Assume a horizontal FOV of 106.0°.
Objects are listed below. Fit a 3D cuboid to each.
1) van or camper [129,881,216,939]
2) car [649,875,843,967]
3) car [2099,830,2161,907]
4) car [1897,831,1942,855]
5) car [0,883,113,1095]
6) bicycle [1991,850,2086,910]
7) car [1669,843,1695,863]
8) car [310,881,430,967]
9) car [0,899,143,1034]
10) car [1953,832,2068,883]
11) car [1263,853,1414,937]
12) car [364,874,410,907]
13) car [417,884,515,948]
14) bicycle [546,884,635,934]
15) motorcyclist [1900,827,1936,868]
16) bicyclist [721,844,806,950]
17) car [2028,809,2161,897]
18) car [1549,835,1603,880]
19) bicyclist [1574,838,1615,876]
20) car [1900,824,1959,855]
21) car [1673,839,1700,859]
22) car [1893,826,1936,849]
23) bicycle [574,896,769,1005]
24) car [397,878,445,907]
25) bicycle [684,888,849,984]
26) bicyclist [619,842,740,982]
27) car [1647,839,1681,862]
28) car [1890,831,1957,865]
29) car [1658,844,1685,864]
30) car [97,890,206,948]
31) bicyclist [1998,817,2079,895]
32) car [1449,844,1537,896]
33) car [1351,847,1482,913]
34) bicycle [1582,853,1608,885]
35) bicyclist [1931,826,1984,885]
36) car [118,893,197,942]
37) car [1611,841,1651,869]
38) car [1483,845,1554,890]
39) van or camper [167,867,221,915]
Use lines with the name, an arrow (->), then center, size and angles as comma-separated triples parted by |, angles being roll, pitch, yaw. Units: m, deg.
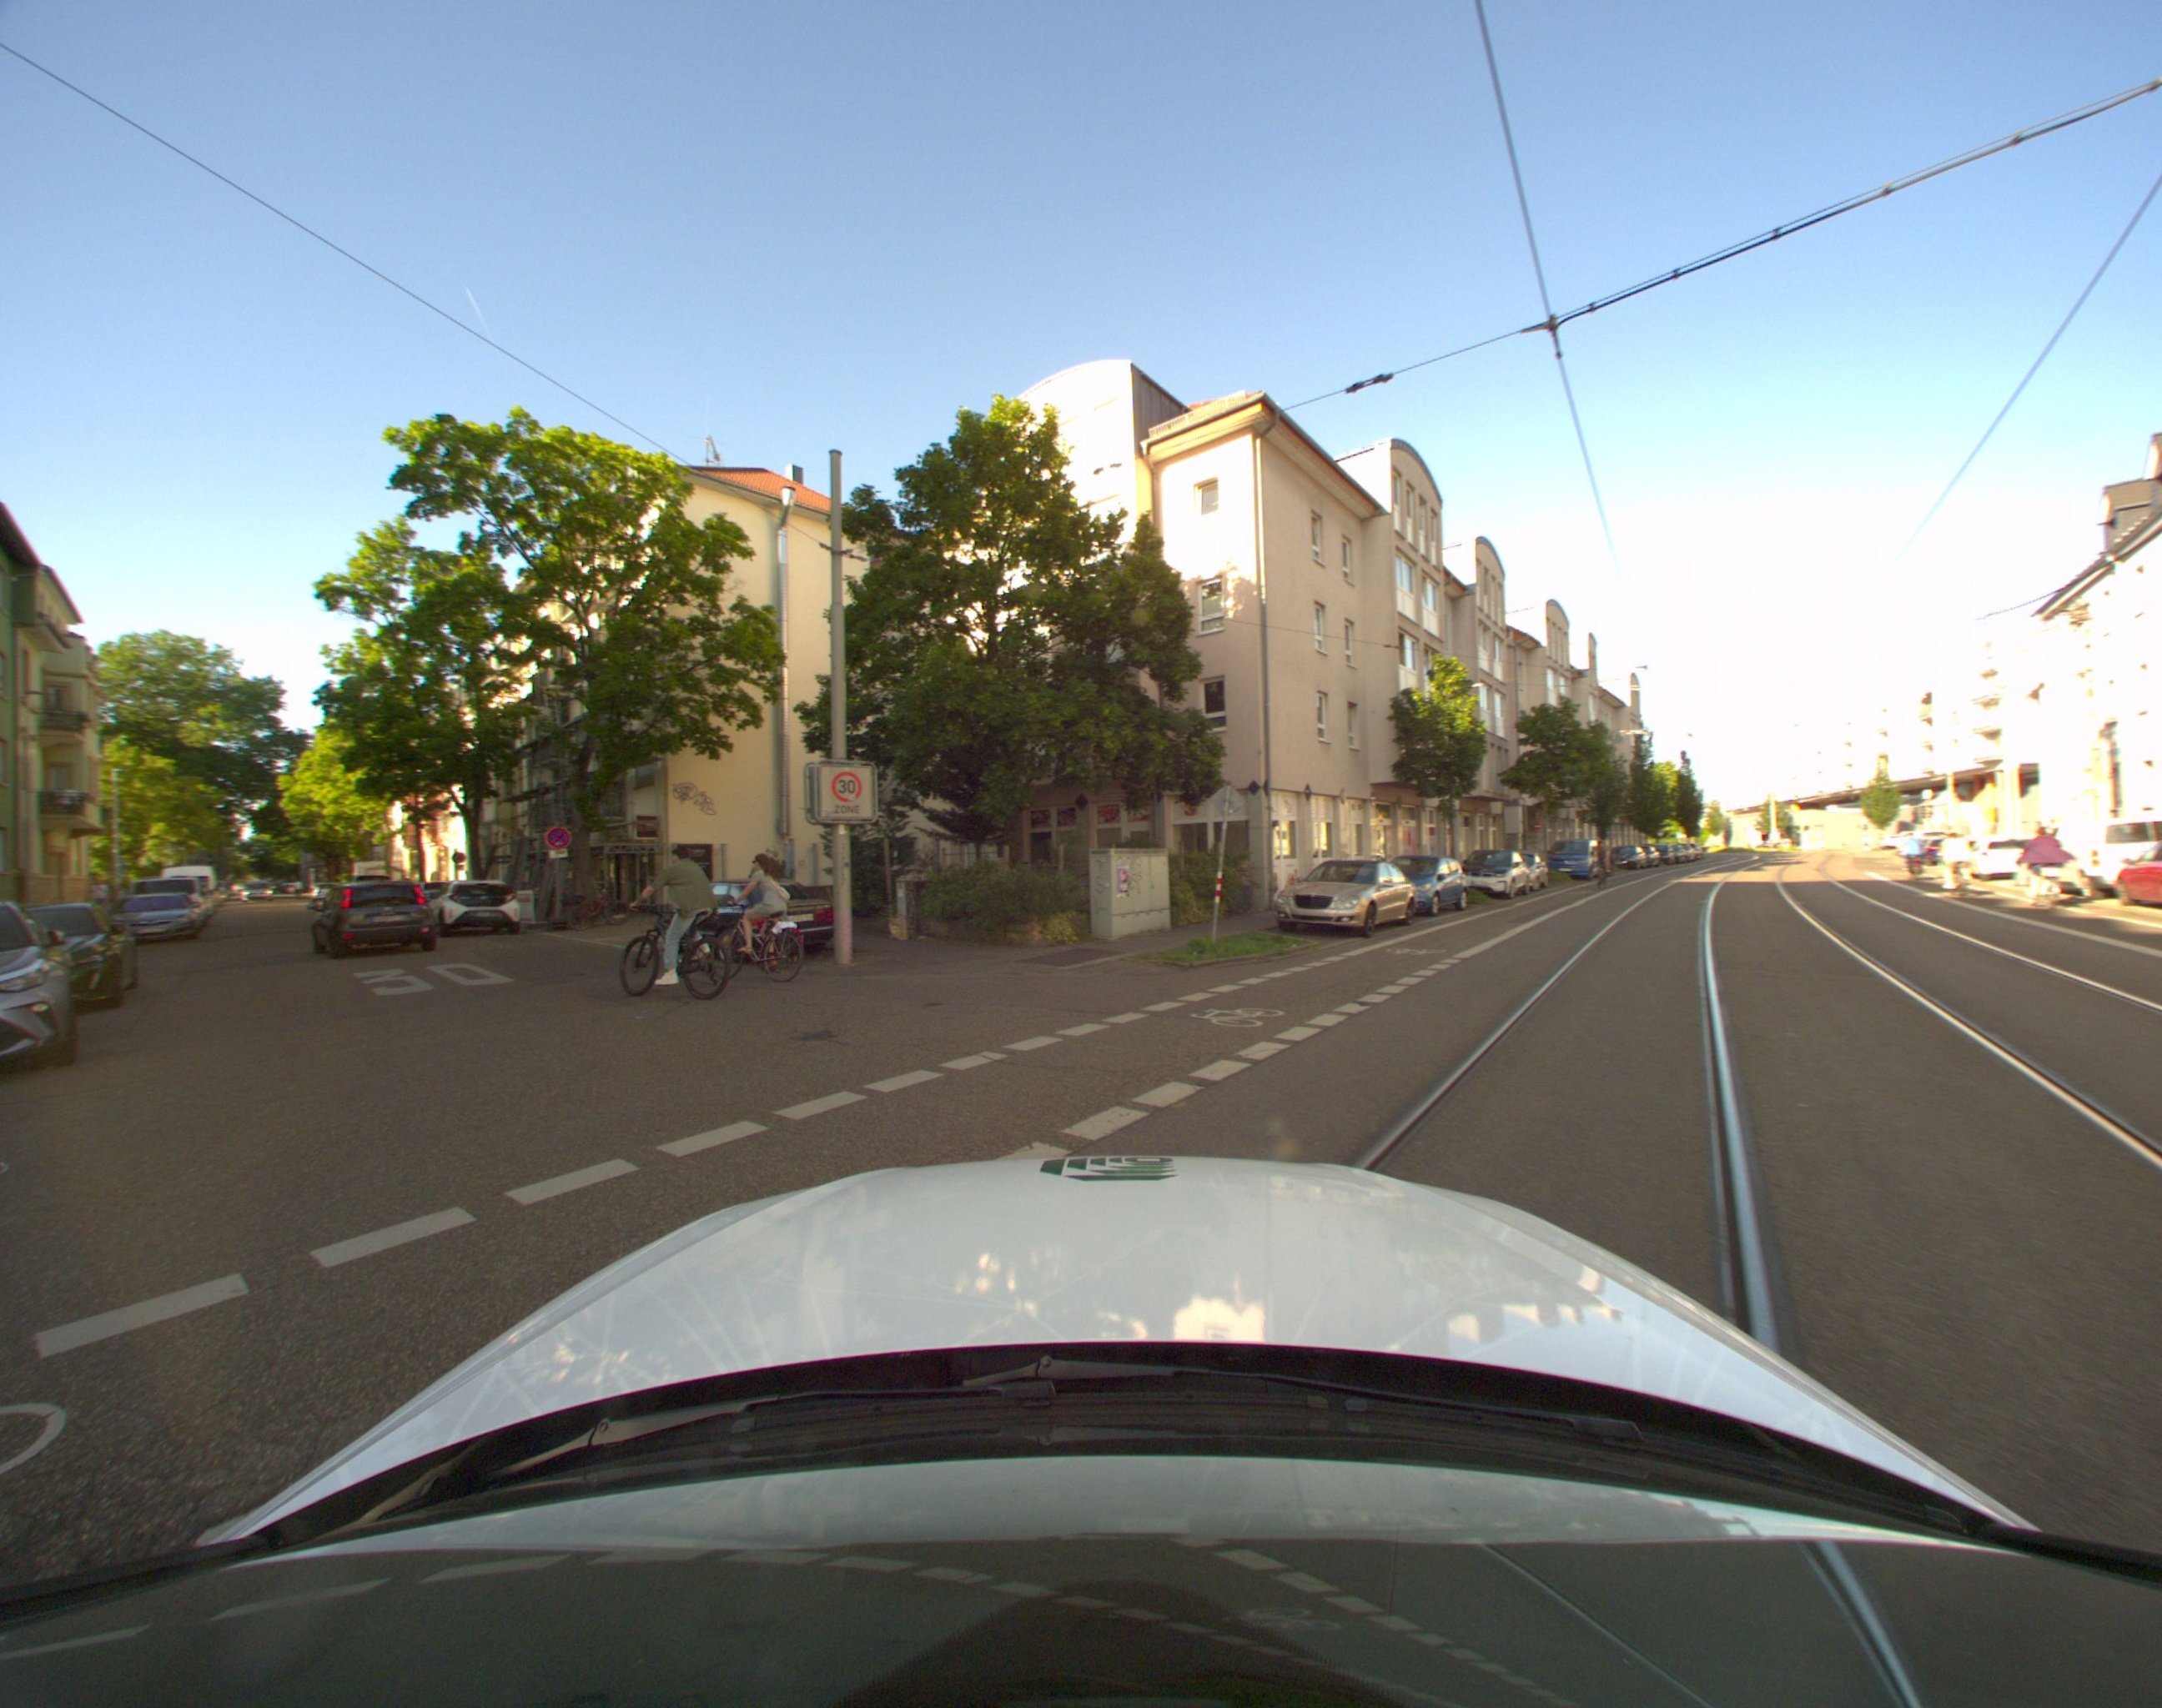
van or camper -> -35.626, 2.111, 32.050 | 4.850, 2.013, 2.012 | -2, 0, 45
car -> -6.299, 1.133, 15.019 | 1.724, 1.388, 4.513 | -1, -1, -44
car -> 22.348, 0.260, 16.179 | 1.778, 1.483, 3.802 | -2, -1, 38
car -> 59.634, -0.787, 58.002 | 1.826, 1.646, 4.239 | -2, 0, 41
car -> -10.446, 1.185, 7.468 | 3.948, 1.659, 1.922 | -2, 1, 40
bicycle -> 21.205, 0.529, 18.093 | 0.813, 1.237, 2.478 | 0, 0, 36
car -> 49.544, -0.064, 67.150 | 1.576, 1.540, 3.211 | -2, 0, 38
car -> -15.042, 1.407, 17.179 | 3.442, 1.533, 1.571 | -3, 0, 44
car -> -14.372, 1.465, 11.191 | 4.083, 1.497, 1.769 | -2, 1, 43
car -> 32.890, 0.096, 28.971 | 1.826, 1.646, 4.577 | -2, 0, 38
car -> 5.406, 0.733, 16.756 | 1.727, 1.442, 4.026 | 0, 1, 37
car -> -37.338, 1.954, 43.794 | 1.570, 1.727, 3.338 | 3, -3, -44
car -> -17.105, 1.659, 22.601 | 3.361, 1.545, 1.690 | -2, -1, 45
bicycle -> -13.668, 1.504, 22.766 | 0.717, 1.165, 1.999 | -2, 2, 26
motorcyclist -> 30.137, -0.235, 29.333 | 0.720, 1.405, 1.027 | -2, 0, 36
bicyclist -> -4.474, 0.603, 11.477 | 0.857, 1.380, 0.629 | -7, -4, 27
car -> 25.559, -0.059, 20.250 | 1.769, 1.971, 4.181 | -4, -2, 38
car -> 23.554, 0.140, 38.684 | 1.649, 1.986, 4.370 | -2, 0, 38
bicyclist -> 18.810, 0.101, 29.830 | 1.171, 1.330, 1.102 | -2, -1, 35
car -> 52.161, -0.884, 50.136 | 1.826, 1.756, 4.577 | -2, 0, 38
car -> 53.561, -0.438, 72.021 | 1.826, 1.646, 3.721 | -2, 0, 38
car -> 62.965, -1.255, 61.571 | 1.826, 1.646, 4.375 | -2, 0, 41
bicycle -> -4.985, 1.123, 9.900 | 2.206, 1.149, 0.846 | -1, 0, 22
car -> -33.451, 1.925, 41.245 | 1.570, 1.410, 3.338 | 2, -3, -44
bicycle -> -4.412, 1.150, 11.385 | 2.204, 1.149, 0.846 | -7, -6, 26
bicyclist -> -4.828, 0.684, 9.815 | 0.857, 1.561, 0.889 | -5, -3, 23
car -> 44.030, -0.259, 61.484 | 1.826, 1.646, 4.577 | -2, 0, 38
car -> 43.619, -0.331, 42.255 | 1.826, 1.646, 3.990 | -2, 0, 38
car -> 46.616, -0.020, 64.248 | 1.576, 1.540, 3.211 | -2, 0, 38
car -> -27.854, 1.875, 24.430 | 4.061, 1.455, 1.998 | -2, 1, 41
bicyclist -> 21.172, 0.046, 18.032 | 0.925, 1.676, 0.976 | -2, -1, 36
car -> 14.138, 0.509, 27.829 | 1.812, 1.593, 4.025 | -2, 0, 39
car -> 8.952, 0.652, 21.574 | 1.812, 1.490, 4.024 | -5, -2, 43
bicycle -> 18.883, 0.542, 29.903 | 0.616, 1.101, 1.973 | -4, -2, 36
bicyclist -> 22.581, 0.035, 21.007 | 0.720, 1.462, 1.027 | -2, 0, 36
car -> -31.769, 2.130, 28.097 | 3.663, 1.453, 1.702 | -2, 0, 43
car -> 34.026, 0.060, 50.344 | 1.649, 1.618, 4.025 | -2, 0, 39
car -> 16.997, 0.479, 31.546 | 1.812, 1.593, 4.026 | -2, 0, 37
van or camper -> -51.166, 2.108, 47.006 | 4.959, 2.553, 2.012 | -2, -1, 43
